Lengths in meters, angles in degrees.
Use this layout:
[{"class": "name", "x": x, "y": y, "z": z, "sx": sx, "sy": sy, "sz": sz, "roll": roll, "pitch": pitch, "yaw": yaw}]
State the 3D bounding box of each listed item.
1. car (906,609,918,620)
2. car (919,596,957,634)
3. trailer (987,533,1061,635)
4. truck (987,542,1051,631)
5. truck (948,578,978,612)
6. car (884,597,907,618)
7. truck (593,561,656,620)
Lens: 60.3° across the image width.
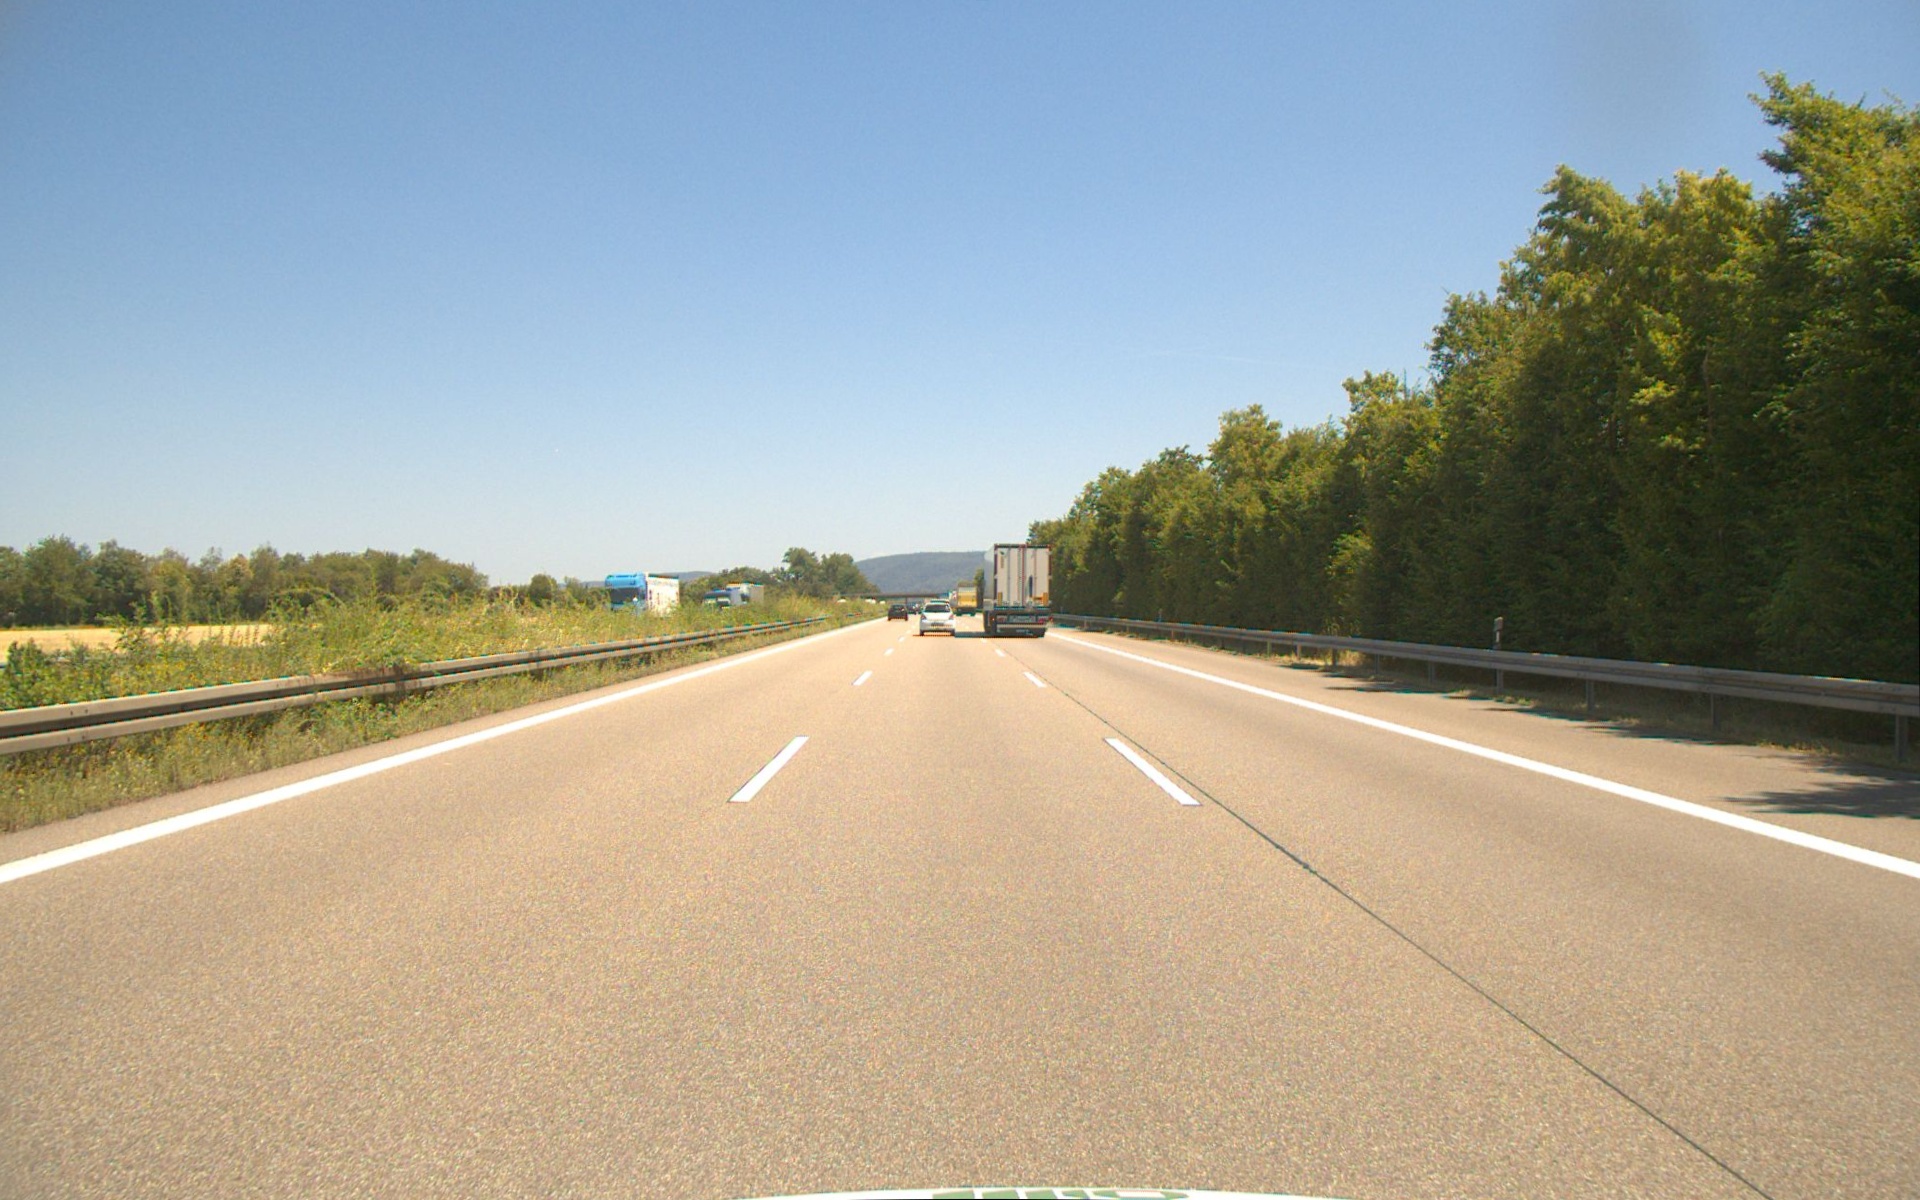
[{"class": "car", "x": -6.868, "y": 2.027, "z": 236.703, "sx": 1.759, "sy": 1.578, "sz": 3.999, "roll": 0, "pitch": 0, "yaw": -1}, {"class": "car", "x": -1.042, "y": 0.670, "z": 77.751, "sx": 1.697, "sy": 1.713, "sz": 3.999, "roll": -1, "pitch": 0, "yaw": -2}, {"class": "trailer", "x": 2.908, "y": -0.692, "z": 79.329, "sx": 3.151, "sy": 4.421, "sz": 13.630, "roll": 1, "pitch": 0, "yaw": 1}, {"class": "truck", "x": 3.012, "y": -0.686, "z": 86.712, "sx": 3.151, "sy": 4.421, "sz": 6.591, "roll": 1, "pitch": 0, "yaw": 1}, {"class": "truck", "x": 0.355, "y": -0.698, "z": 224.820, "sx": 3.793, "sy": 4.421, "sz": 13.857, "roll": 1, "pitch": 0, "yaw": -1}, {"class": "car", "x": -5.652, "y": 0.629, "z": 144.645, "sx": 1.953, "sy": 1.742, "sz": 3.999, "roll": 1, "pitch": 0, "yaw": -2}, {"class": "truck", "x": -21.949, "y": -0.611, "z": 108.444, "sx": 3.047, "sy": 3.763, "sz": 5.197, "roll": 1, "pitch": 0, "yaw": -1}]
